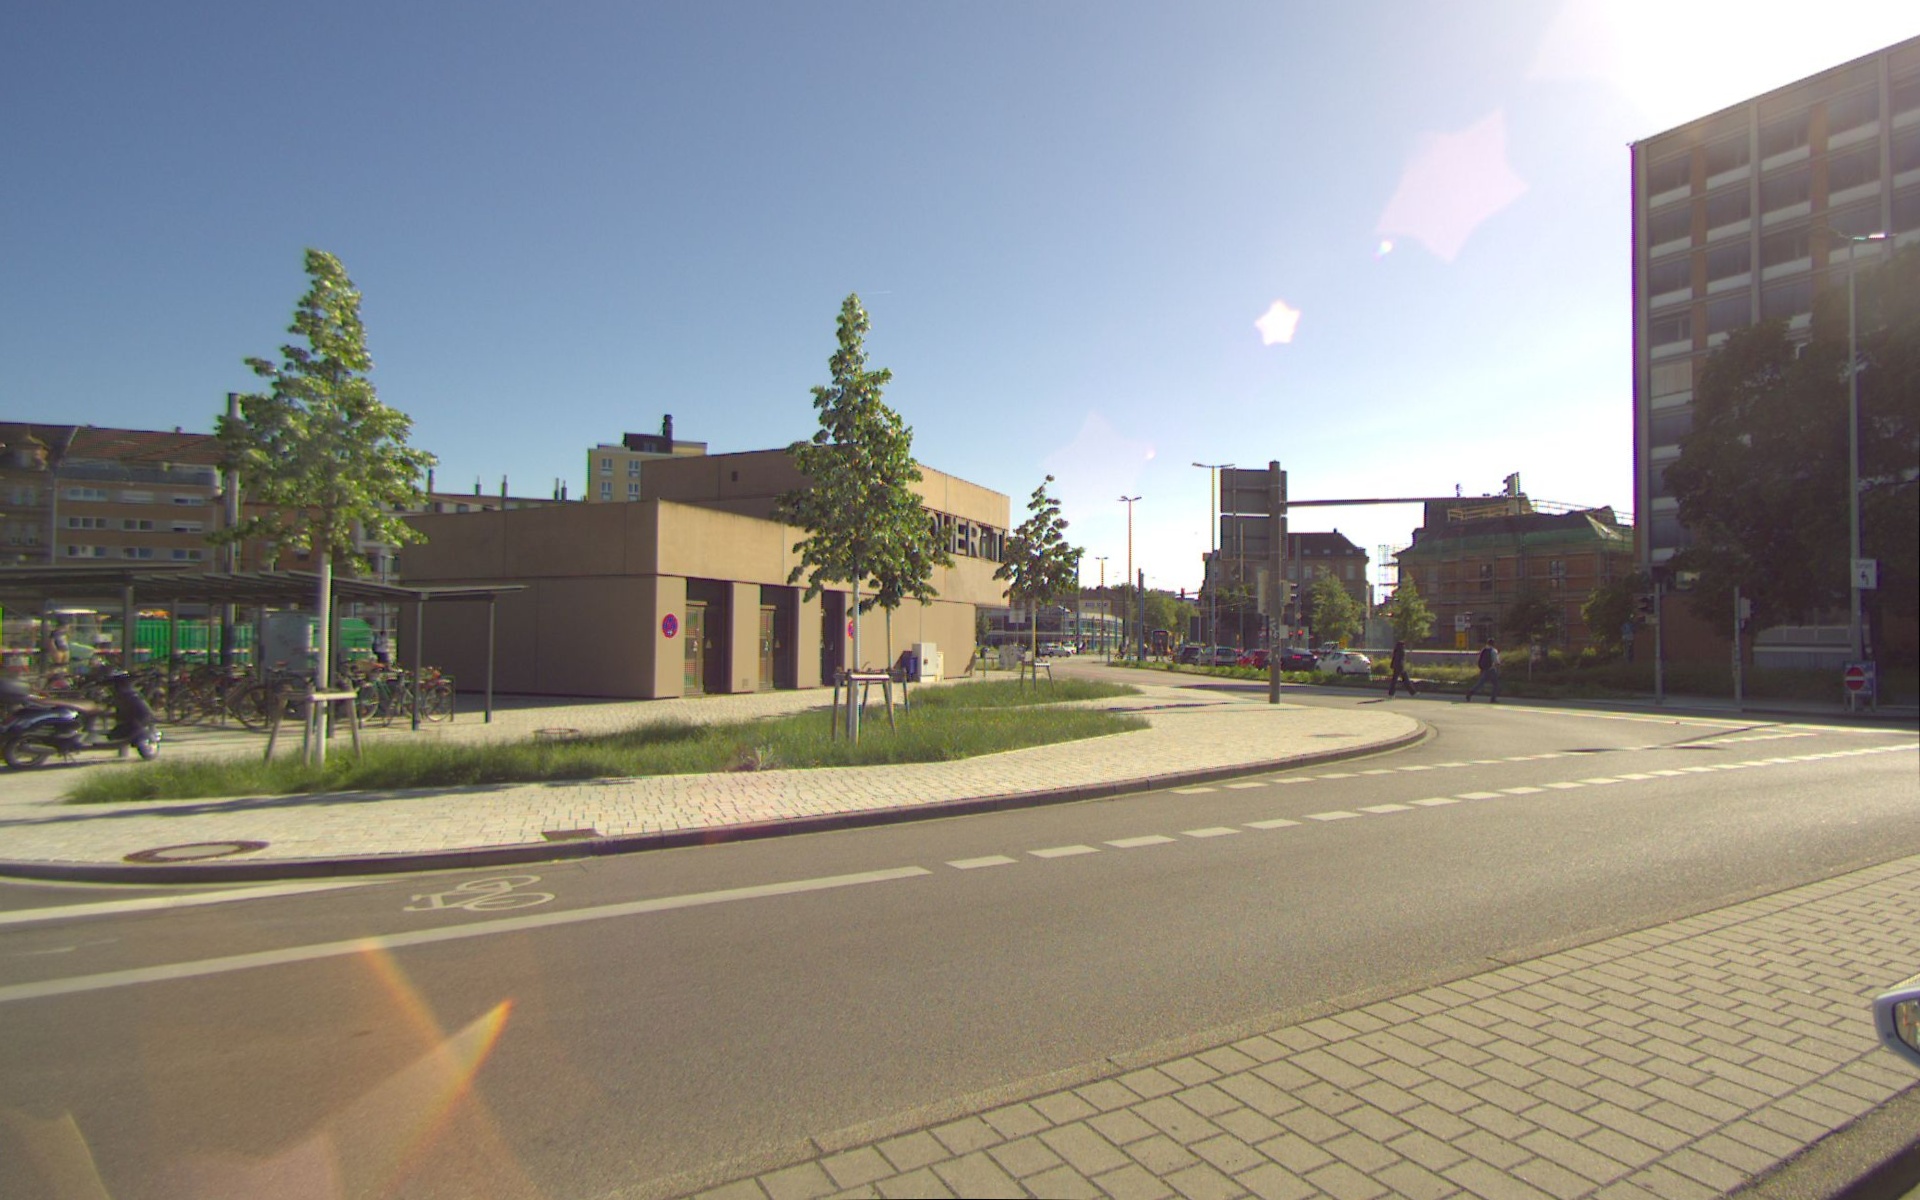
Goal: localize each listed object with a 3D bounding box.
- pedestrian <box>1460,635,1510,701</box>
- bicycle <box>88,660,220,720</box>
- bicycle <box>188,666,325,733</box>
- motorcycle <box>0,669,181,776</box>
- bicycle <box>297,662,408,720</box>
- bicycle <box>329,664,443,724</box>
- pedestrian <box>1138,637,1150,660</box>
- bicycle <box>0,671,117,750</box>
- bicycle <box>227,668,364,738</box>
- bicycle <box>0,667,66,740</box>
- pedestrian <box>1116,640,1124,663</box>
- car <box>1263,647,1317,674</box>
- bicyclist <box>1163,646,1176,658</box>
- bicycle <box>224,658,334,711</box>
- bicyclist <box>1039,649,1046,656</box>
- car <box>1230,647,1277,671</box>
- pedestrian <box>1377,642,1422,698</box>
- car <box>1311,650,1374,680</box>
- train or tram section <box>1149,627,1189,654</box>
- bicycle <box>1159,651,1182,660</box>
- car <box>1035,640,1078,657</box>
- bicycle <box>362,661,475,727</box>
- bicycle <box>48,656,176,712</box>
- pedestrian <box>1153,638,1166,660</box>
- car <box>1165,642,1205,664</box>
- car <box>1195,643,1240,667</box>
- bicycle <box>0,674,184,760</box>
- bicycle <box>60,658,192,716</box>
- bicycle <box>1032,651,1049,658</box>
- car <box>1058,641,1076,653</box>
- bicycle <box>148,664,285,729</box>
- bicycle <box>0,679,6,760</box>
[{"bbox_3d":[14.210,1.821,27.199,1.044,1.753,0.652,1,-2,-16],"label":"pedestrian"},{"bbox_3d":[-15.084,1.655,18.864,0.449,1.022,1.902,0,-2,26],"label":"bicycle"},{"bbox_3d":[-11.891,1.651,17.059,0.449,1.022,1.902,0,-2,26],"label":"bicycle"},{"bbox_3d":[-10.922,1.475,12.470,0.508,1.166,1.947,0,-2,25],"label":"motorcycle"},{"bbox_3d":[-11.799,1.742,19.577,0.449,1.022,1.902,0,-2,26],"label":"bicycle"},{"bbox_3d":[-10.710,1.733,18.819,0.449,1.022,1.902,0,-2,26],"label":"bicycle"},{"bbox_3d":[15.234,3.981,83.195,0.861,1.889,0.731,1,-2,-4],"label":"pedestrian"},{"bbox_3d":[-13.031,1.536,14.015,0.449,1.022,1.902,0,-2,26],"label":"bicycle"},{"bbox_3d":[-10.913,1.662,16.570,0.449,1.022,1.902,0,-2,26],"label":"bicycle"},{"bbox_3d":[-14.161,1.508,14.446,0.449,1.022,1.902,0,-2,26],"label":"bicycle"},{"bbox_3d":[14.746,4.722,92.437,0.495,2.040,0.543,1,-2,-30],"label":"pedestrian"},{"bbox_3d":[20.577,3.762,62.790,1.760,1.528,3.880,1,-2,-6],"label":"car"},{"bbox_3d":[21.102,5.210,101.352,0.953,1.182,0.892,1,-2,-19],"label":"bicyclist"},{"bbox_3d":[-14.075,1.727,20.829,0.449,1.022,1.902,0,-2,26],"label":"bicycle"},{"bbox_3d":[6.972,4.447,84.698,0.560,0.556,0.431,0,-2,11],"label":"bicyclist"},{"bbox_3d":[20.207,4.026,69.250,1.760,1.528,3.880,1,-2,-6],"label":"car"},{"bbox_3d":[12.299,1.950,28.142,0.964,1.547,0.652,1,-2,-16],"label":"pedestrian"},{"bbox_3d":[21.250,3.589,55.934,1.760,1.528,3.880,1,-2,-6],"label":"car"},{"bbox_3d":[28.699,5.471,137.234,2.651,3.275,10.589,2,0,27],"label":"train or tram section"},{"bbox_3d":[21.246,5.609,101.381,2.207,0.894,0.892,1,-2,-19],"label":"bicycle"},{"bbox_3d":[11.037,5.532,114.839,4.460,1.870,2.067,2,-2,-28],"label":"car"},{"bbox_3d":[-9.930,1.695,18.490,0.449,1.112,1.902,0,-2,26],"label":"bicycle"},{"bbox_3d":[-16.702,1.637,19.838,0.449,1.022,1.902,0,-2,26],"label":"bicycle"},{"bbox_3d":[16.861,4.148,84.813,0.862,1.889,0.730,1,-2,-9],"label":"pedestrian"},{"bbox_3d":[16.778,3.923,74.997,1.760,1.528,3.880,1,-2,-6],"label":"car"},{"bbox_3d":[17.459,3.688,68.271,1.760,1.528,3.880,1,-2,-6],"label":"car"},{"bbox_3d":[-11.817,1.555,13.723,0.449,1.022,1.902,0,-2,26],"label":"bicycle"},{"bbox_3d":[-15.920,1.643,19.240,0.449,1.022,1.902,0,-2,26],"label":"bicycle"},{"bbox_3d":[6.755,4.628,84.738,1.381,0.556,0.435,0,-2,11],"label":"bicycle"},{"bbox_3d":[15.069,6.565,141.389,1.709,1.672,4.002,0,-2,17],"label":"car"},{"bbox_3d":[-12.901,1.647,17.489,0.449,1.022,1.902,0,-2,26],"label":"bicycle"},{"bbox_3d":[-12.748,1.484,12.003,0.449,1.022,1.902,0,-2,26],"label":"bicycle"}]
